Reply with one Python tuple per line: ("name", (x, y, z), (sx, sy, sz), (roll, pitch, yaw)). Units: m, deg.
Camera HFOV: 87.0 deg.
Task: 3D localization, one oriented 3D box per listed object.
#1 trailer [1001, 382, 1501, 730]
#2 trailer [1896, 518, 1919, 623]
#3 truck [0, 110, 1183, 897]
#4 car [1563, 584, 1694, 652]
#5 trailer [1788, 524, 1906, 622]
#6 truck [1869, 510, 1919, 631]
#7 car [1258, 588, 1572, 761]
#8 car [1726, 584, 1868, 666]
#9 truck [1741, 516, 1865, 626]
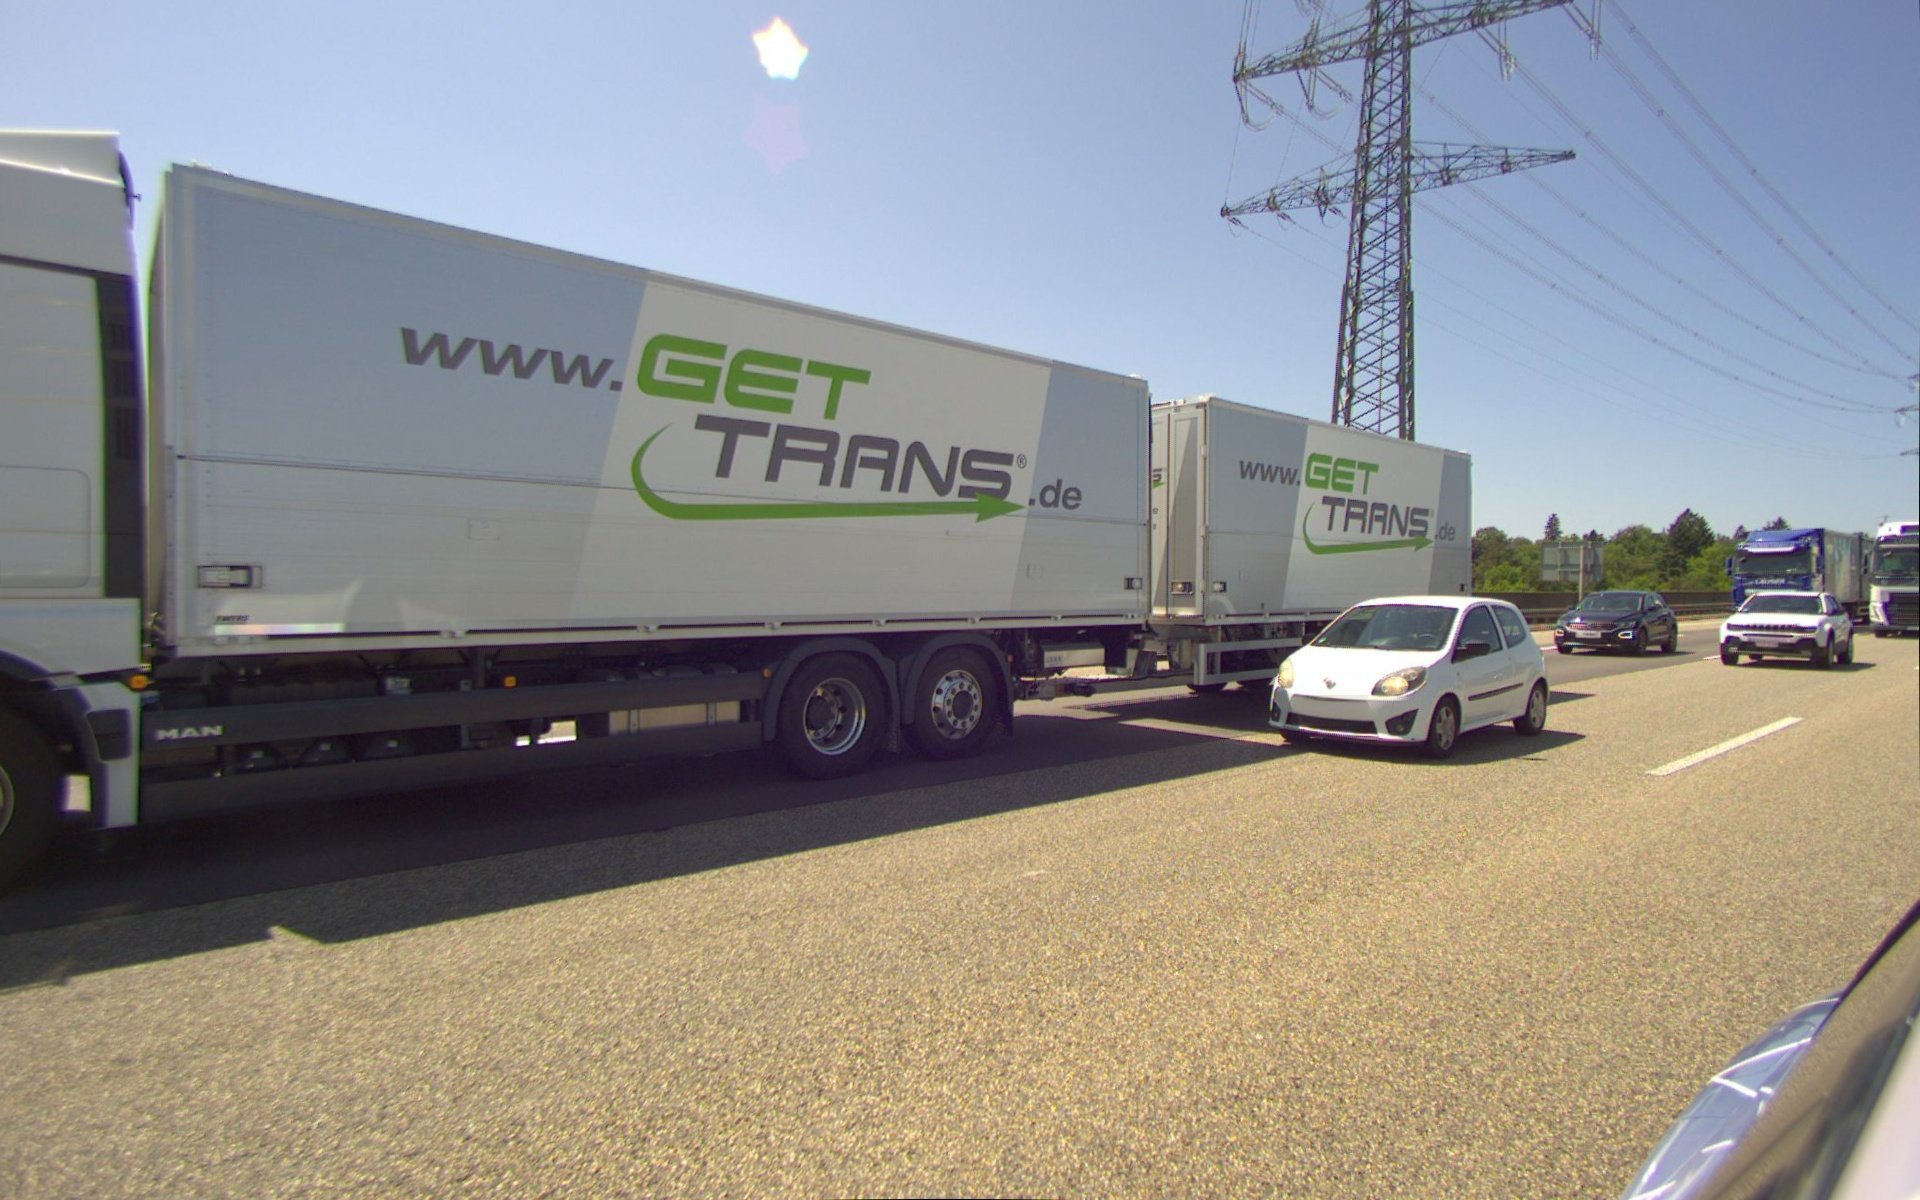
("trailer", (4.517, -0.498, 14.340), (8.146, 3.640, 2.849), (0, 0, -41))
("trailer", (40.049, -1.177, 40.410), (9.605, 3.917, 2.895), (-1, 1, -41))
("truck", (-2.599, -0.476, 8.180), (10.580, 3.648, 2.856), (0, 0, -41))
("car", (16.423, 0.386, 24.799), (3.820, 1.524, 1.708), (-1, 1, -41))
("trailer", (40.833, -1.225, 46.428), (10.694, 4.044, 2.542), (-1, 1, -40))
("truck", (33.968, -1.016, 35.064), (6.624, 3.941, 2.911), (-1, 1, -41))
("car", (4.735, 0.610, 10.343), (3.566, 1.458, 1.582), (-1, 1, -41))
("car", (17.474, 0.444, 21.083), (3.688, 1.554, 1.720), (0, 1, -41))
("truck", (33.795, -1.087, 40.446), (7.787, 4.018, 2.516), (0, 0, -40))
